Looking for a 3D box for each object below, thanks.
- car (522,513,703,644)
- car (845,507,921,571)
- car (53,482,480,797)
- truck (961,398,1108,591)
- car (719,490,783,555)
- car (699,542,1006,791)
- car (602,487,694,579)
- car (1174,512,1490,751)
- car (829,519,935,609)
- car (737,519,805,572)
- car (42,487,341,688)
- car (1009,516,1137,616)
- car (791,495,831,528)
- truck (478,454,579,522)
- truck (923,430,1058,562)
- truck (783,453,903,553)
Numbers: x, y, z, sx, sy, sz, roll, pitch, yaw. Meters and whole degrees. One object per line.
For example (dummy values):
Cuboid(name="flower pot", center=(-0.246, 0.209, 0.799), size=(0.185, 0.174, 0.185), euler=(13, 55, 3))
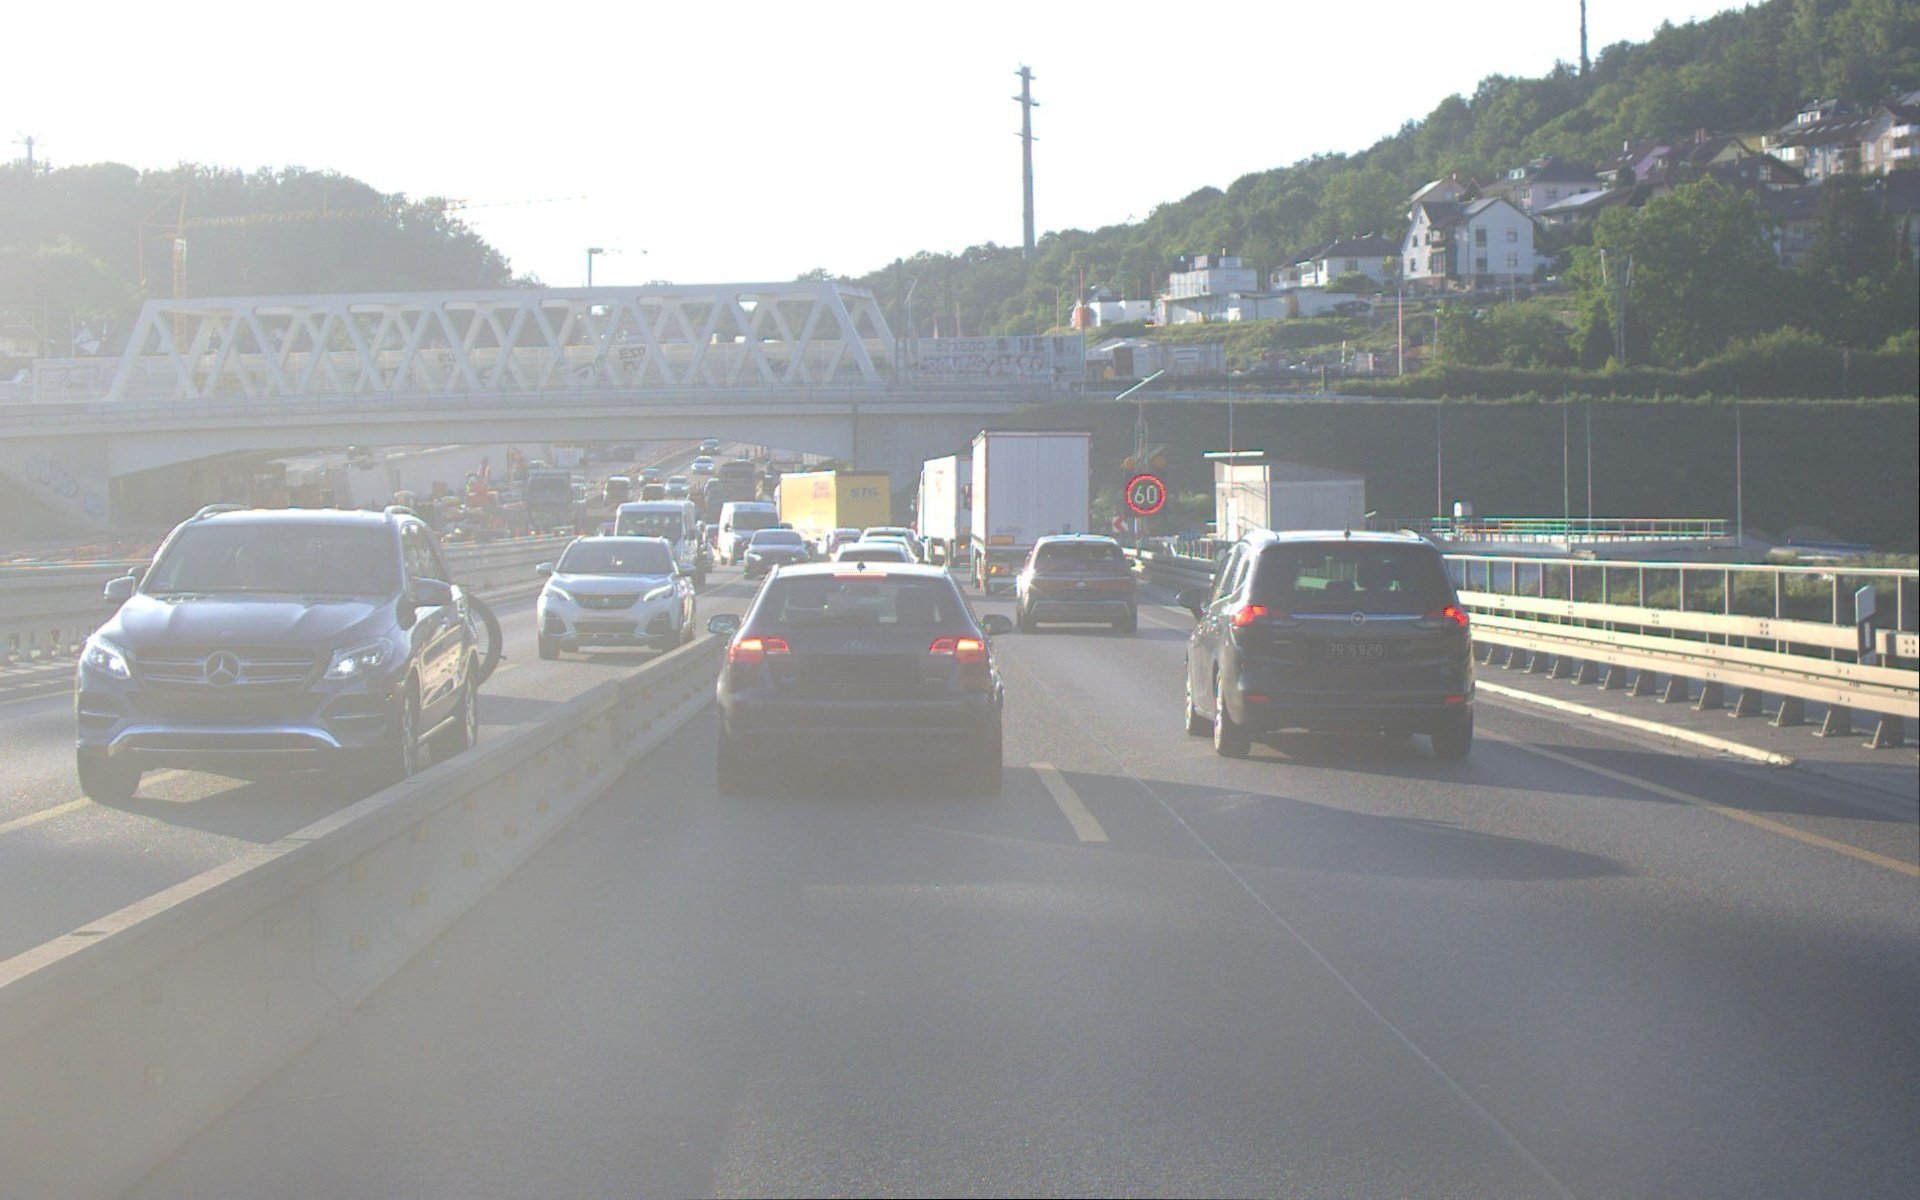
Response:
Cuboid(name="car", center=(-4.549, -0.319, 45.471), size=(1.838, 1.634, 4.000), euler=(-1, 1, 2))
Cuboid(name="car", center=(-1.883, -1.512, 83.921), size=(1.765, 1.481, 4.001), euler=(1, 2, -1))
Cuboid(name="car", center=(-4.221, 0.169, 21.660), size=(1.929, 1.748, 4.673), euler=(1, 1, -3))
Cuboid(name="truck", center=(1.807, -2.657, 88.425), size=(3.385, 4.483, 15.267), euler=(1, 1, 0))
Cuboid(name="car", center=(-8.182, -3.029, 134.049), size=(2.073, 2.449, 6.268), euler=(1, 2, -7))
Cuboid(name="car", center=(-0.695, 0.355, 21.965), size=(1.770, 1.385, 4.001), euler=(1, 2, -2))
Cuboid(name="car", center=(-8.137, -1.765, 90.053), size=(1.993, 2.315, 5.935), euler=(0, 1, -1))
Cuboid(name="car", center=(2.701, 0.162, 25.915), size=(1.814, 1.626, 4.412), euler=(1, 2, -1))
Cuboid(name="car", center=(-1.415, -0.665, 61.198), size=(1.765, 1.481, 4.001), euler=(1, 2, -3))
Cuboid(name="car", center=(-5.759, -1.674, 104.383), size=(1.993, 1.525, 5.783), euler=(0, 1, -4))
Cuboid(name="car", center=(-7.820, -0.163, 35.400), size=(1.993, 1.850, 4.282), euler=(3, 1, 1))
Cuboid(name="car", center=(1.846, -0.600, 57.300), size=(1.770, 1.547, 4.001), euler=(1, 2, -3))
Cuboid(name="car", center=(-7.108, -4.215, 163.366), size=(1.792, 1.534, 4.368), euler=(0, 2, -4))
Cuboid(name="truck", center=(-25.105, -6.496, 199.656), size=(2.930, 3.877, 10.266), euler=(0, 2, -24))
Cuboid(name="truck", center=(0.978, -3.785, 126.606), size=(3.890, 4.483, 15.269), euler=(1, 1, -3))
Cuboid(name="truck", center=(-5.683, -4.709, 163.478), size=(3.889, 4.482, 13.853), euler=(0, 3, -9))
